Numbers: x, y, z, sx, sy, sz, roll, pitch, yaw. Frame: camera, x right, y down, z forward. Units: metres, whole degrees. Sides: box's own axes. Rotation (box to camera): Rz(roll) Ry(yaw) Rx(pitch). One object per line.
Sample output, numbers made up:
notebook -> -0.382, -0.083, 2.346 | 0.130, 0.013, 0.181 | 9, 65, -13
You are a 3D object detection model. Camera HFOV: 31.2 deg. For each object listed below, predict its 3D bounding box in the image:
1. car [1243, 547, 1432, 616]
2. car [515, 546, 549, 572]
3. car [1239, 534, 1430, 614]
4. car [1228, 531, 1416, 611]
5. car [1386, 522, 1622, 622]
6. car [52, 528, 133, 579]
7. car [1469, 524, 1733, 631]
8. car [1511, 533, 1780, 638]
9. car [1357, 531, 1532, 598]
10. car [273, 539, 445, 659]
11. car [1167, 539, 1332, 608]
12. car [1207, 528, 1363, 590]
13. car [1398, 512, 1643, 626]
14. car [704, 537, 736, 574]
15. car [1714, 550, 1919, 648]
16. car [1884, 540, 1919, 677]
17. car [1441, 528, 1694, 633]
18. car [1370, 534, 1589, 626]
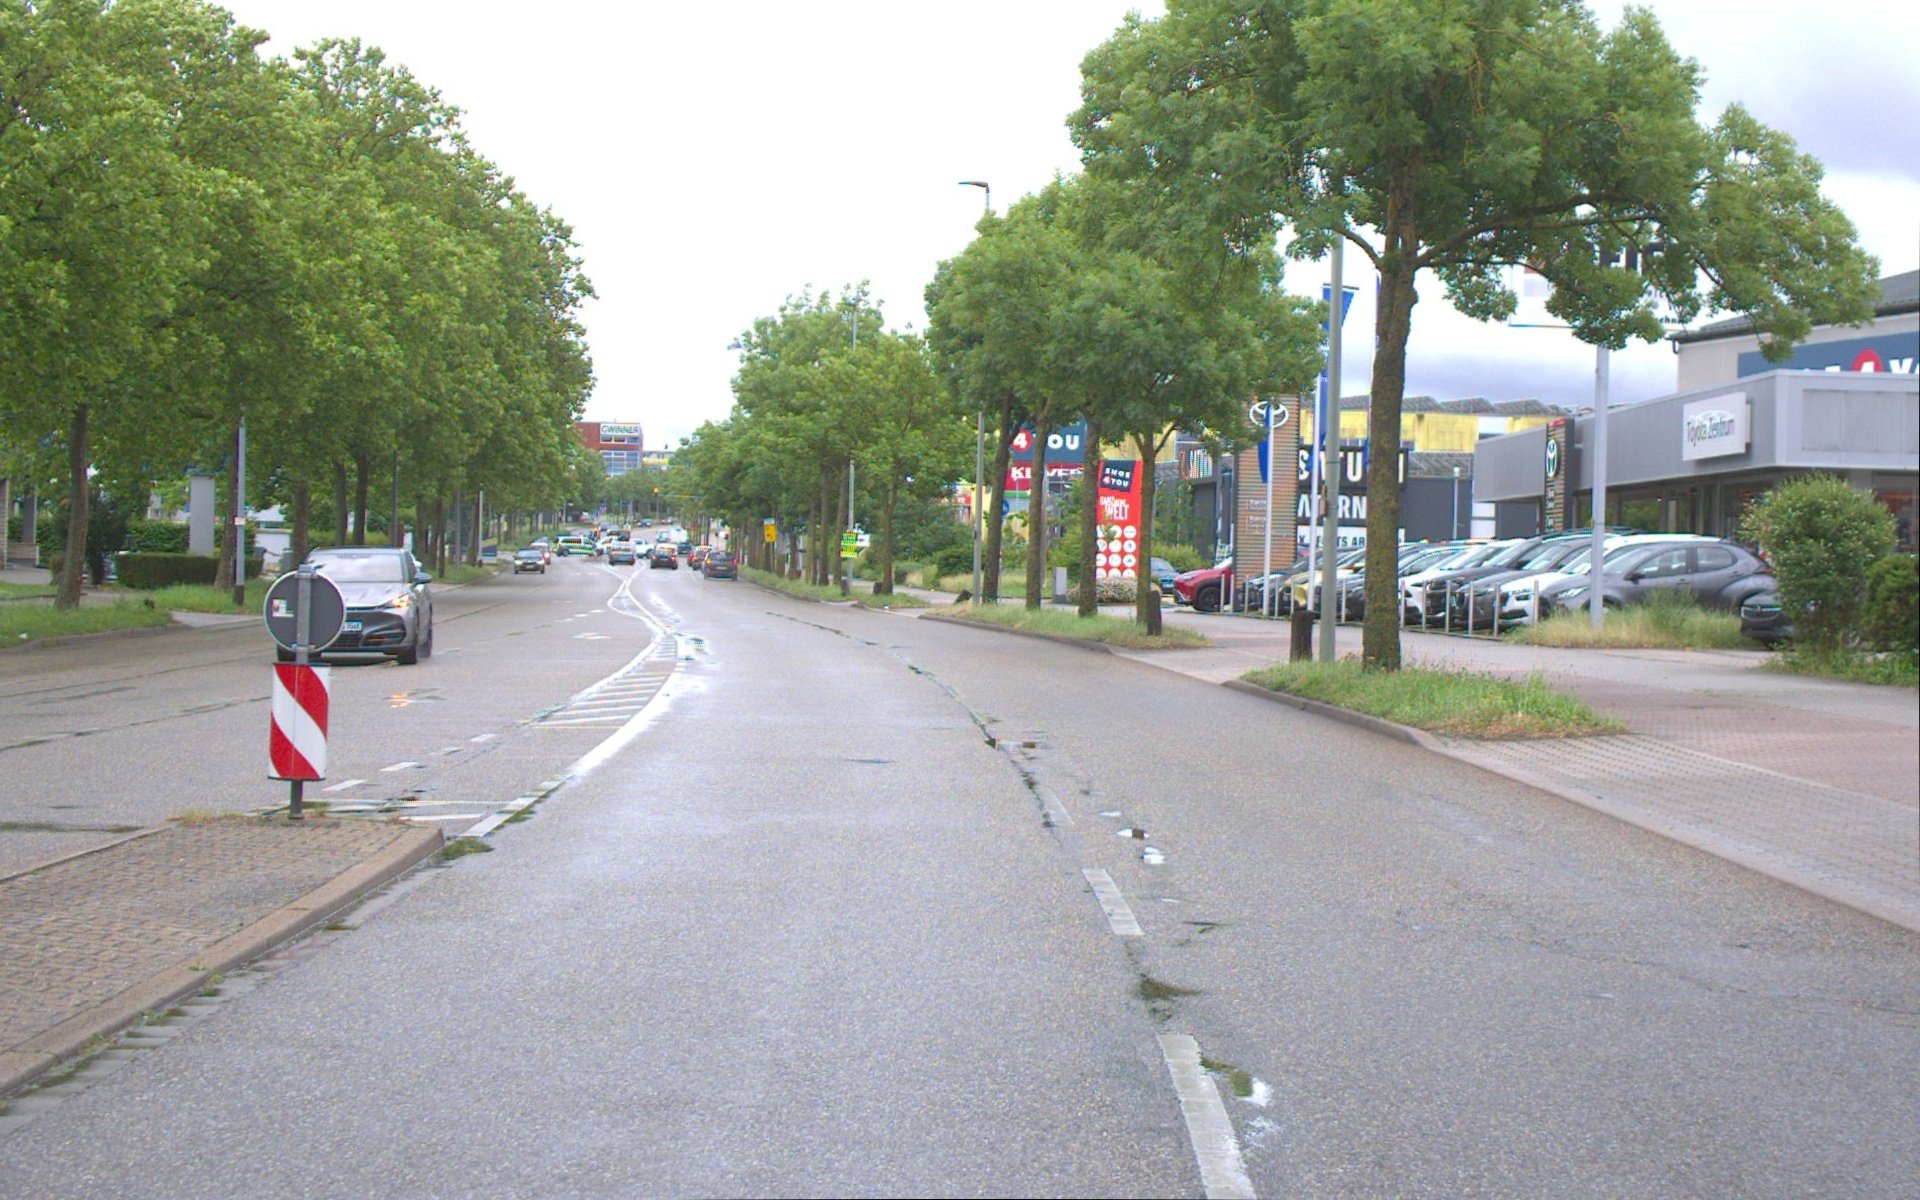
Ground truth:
car -> 8.533, -0.430, 77.966 | 3.986, 1.533, 1.800 | 0, 1, -5
car -> -24.725, -2.393, 198.712 | 1.803, 1.458, 3.846 | 0, 1, -5
car -> 8.251, -0.584, 75.933 | 3.838, 1.560, 1.667 | -3, 1, -7
car -> 8.371, -0.681, 79.616 | 3.986, 1.641, 1.845 | -3, 1, -4
car -> 10.274, -0.549, 65.102 | 3.986, 1.582, 1.812 | -4, 2, -6
car -> -26.005, -1.393, 103.120 | 1.823, 1.481, 3.940 | 0, 1, -6
car -> 10.754, -0.388, 57.851 | 3.986, 1.538, 1.812 | -3, 1, -2
car -> 11.004, -0.251, 55.328 | 3.832, 1.456, 1.828 | -3, 1, -5
car -> 12.153, -0.895, 86.444 | 4.109, 1.616, 1.881 | -1, 1, 0
car -> -8.256, -0.026, 47.549 | 1.811, 1.556, 4.599 | 0, 0, -3
car -> 7.239, -0.668, 86.227 | 3.840, 1.598, 1.796 | -2, 1, -4
car -> 10.868, -1.361, 115.075 | 4.820, 2.007, 1.991 | 0, 0, -14
car -> 10.119, -0.563, 62.221 | 3.987, 1.780, 1.812 | -4, 1, -2
car -> -13.224, -2.448, 189.369 | 1.745, 2.007, 4.001 | 1, 1, -4
car -> 13.479, -0.024, 52.032 | 3.678, 1.459, 1.794 | 0, 1, -3
car -> 12.973, 0.099, 40.375 | 4.058, 1.592, 1.983 | 0, 1, 16
car -> 10.609, -0.352, 60.208 | 3.986, 1.579, 1.812 | -3, 1, -2
car -> 10.213, -0.406, 67.772 | 3.986, 1.780, 1.812 | 0, 1, -2
